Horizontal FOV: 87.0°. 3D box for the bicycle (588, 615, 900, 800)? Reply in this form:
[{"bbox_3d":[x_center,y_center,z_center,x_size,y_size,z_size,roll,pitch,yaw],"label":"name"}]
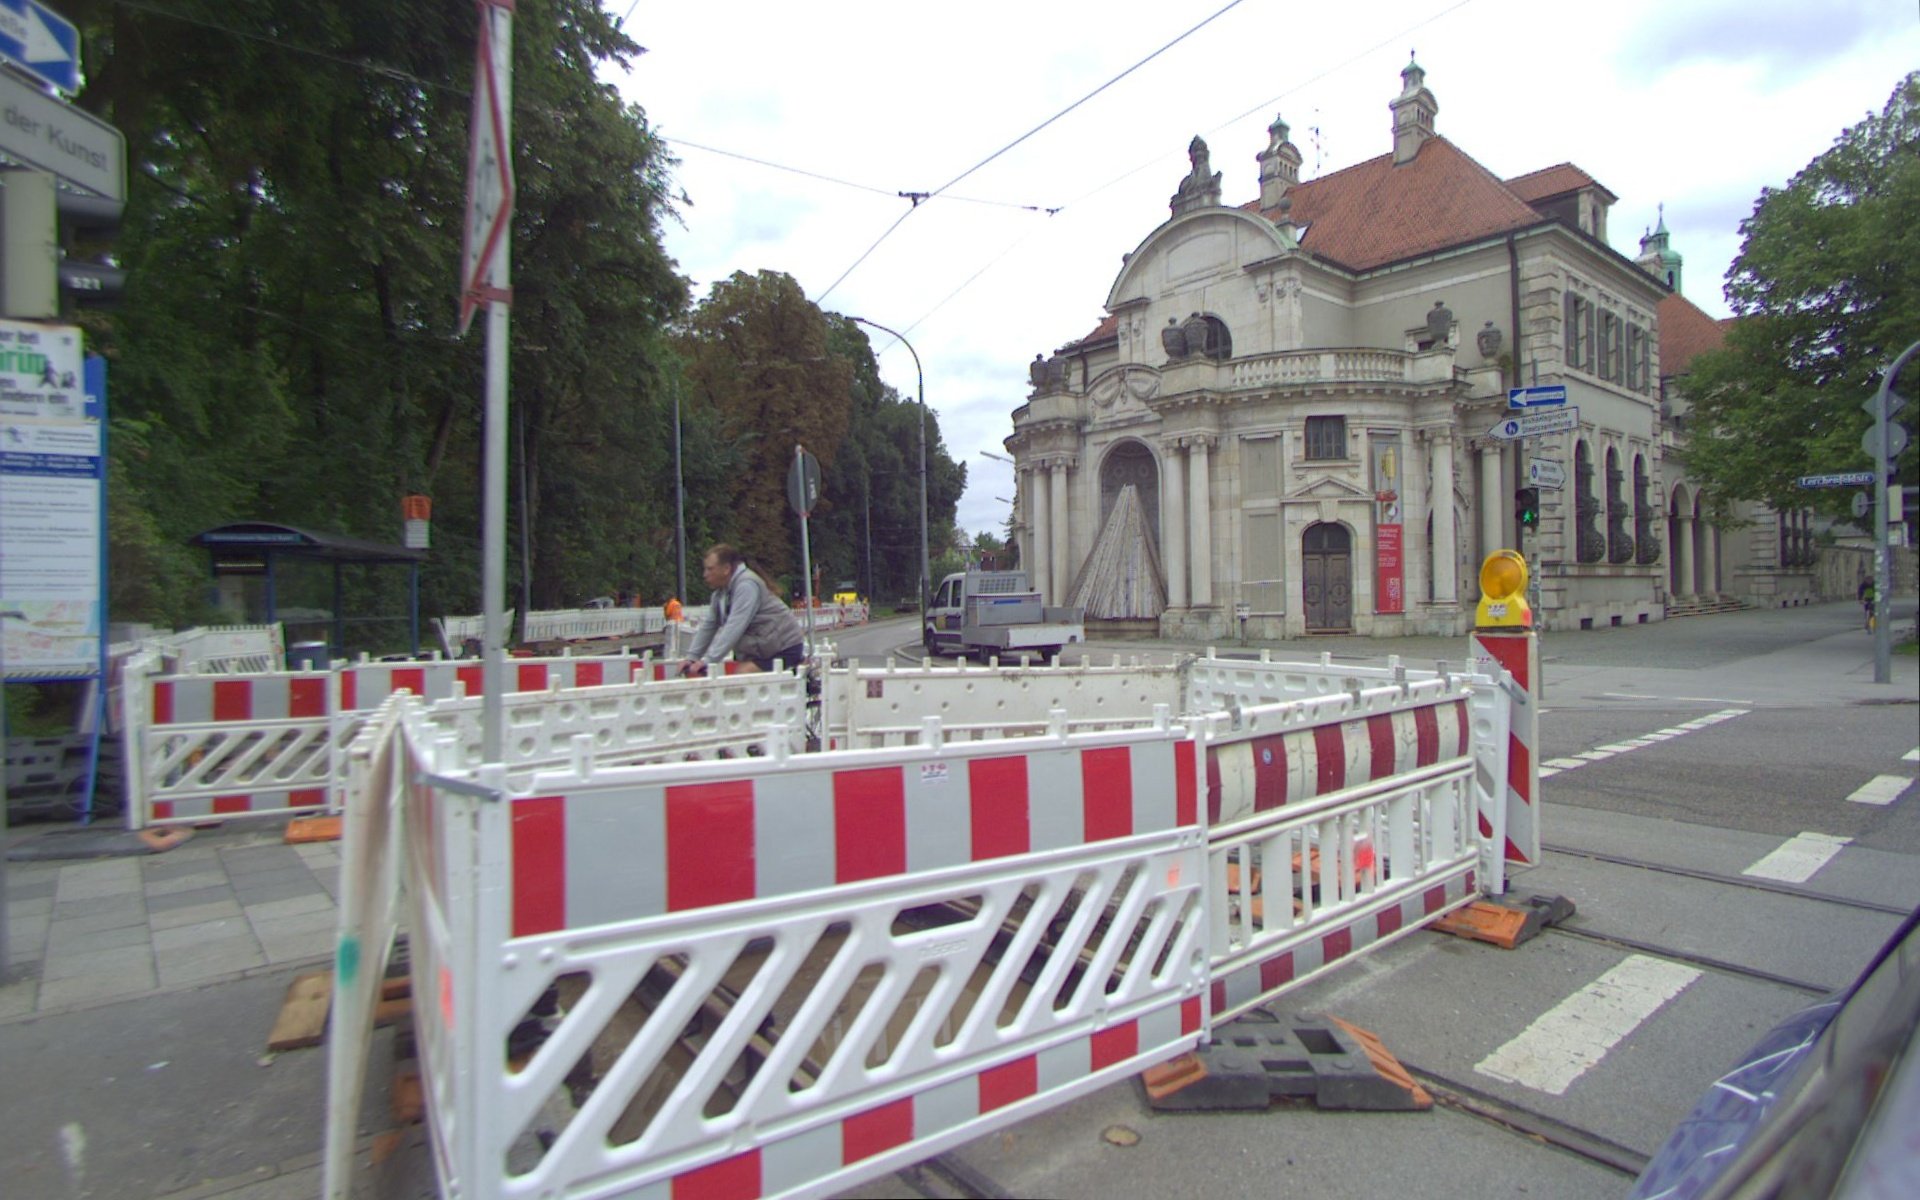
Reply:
[{"bbox_3d":[-1.460,0.677,7.219,0.737,1.071,2.130,-3,-1,42],"label":"bicycle"}]

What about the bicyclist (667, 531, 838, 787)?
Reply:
[{"bbox_3d":[-1.481,0.391,7.246,0.756,1.688,0.886,-3,-2,42],"label":"bicyclist"}]

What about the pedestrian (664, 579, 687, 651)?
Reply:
[{"bbox_3d":[-8.662,0.458,30.777,0.551,2.136,0.689,-1,-1,-21],"label":"pedestrian"}]

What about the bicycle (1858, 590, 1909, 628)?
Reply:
[{"bbox_3d":[26.819,0.260,29.378,2.022,1.020,0.829,-1,-1,-41],"label":"bicycle"}]

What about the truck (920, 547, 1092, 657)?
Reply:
[{"bbox_3d":[0.998,0.097,26.522,2.247,2.526,5.946,-2,-1,-21],"label":"truck"}]

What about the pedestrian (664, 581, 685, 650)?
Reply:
[{"bbox_3d":[-9.019,0.484,31.943,0.551,2.136,0.689,-1,-1,-19],"label":"pedestrian"}]

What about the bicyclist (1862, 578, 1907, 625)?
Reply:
[{"bbox_3d":[26.760,0.050,29.296,0.878,1.330,0.807,-1,-1,-41],"label":"bicyclist"}]

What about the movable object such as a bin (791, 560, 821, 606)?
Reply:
[{"bbox_3d":[-8.209,-0.872,54.104,1.294,2.343,3.777,-2,-1,-6],"label":"movable object such as a bin"}]

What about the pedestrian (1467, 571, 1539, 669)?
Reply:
[{"bbox_3d":[10.157,0.376,18.936,1.060,1.787,0.765,-3,-1,34],"label":"pedestrian"}]
